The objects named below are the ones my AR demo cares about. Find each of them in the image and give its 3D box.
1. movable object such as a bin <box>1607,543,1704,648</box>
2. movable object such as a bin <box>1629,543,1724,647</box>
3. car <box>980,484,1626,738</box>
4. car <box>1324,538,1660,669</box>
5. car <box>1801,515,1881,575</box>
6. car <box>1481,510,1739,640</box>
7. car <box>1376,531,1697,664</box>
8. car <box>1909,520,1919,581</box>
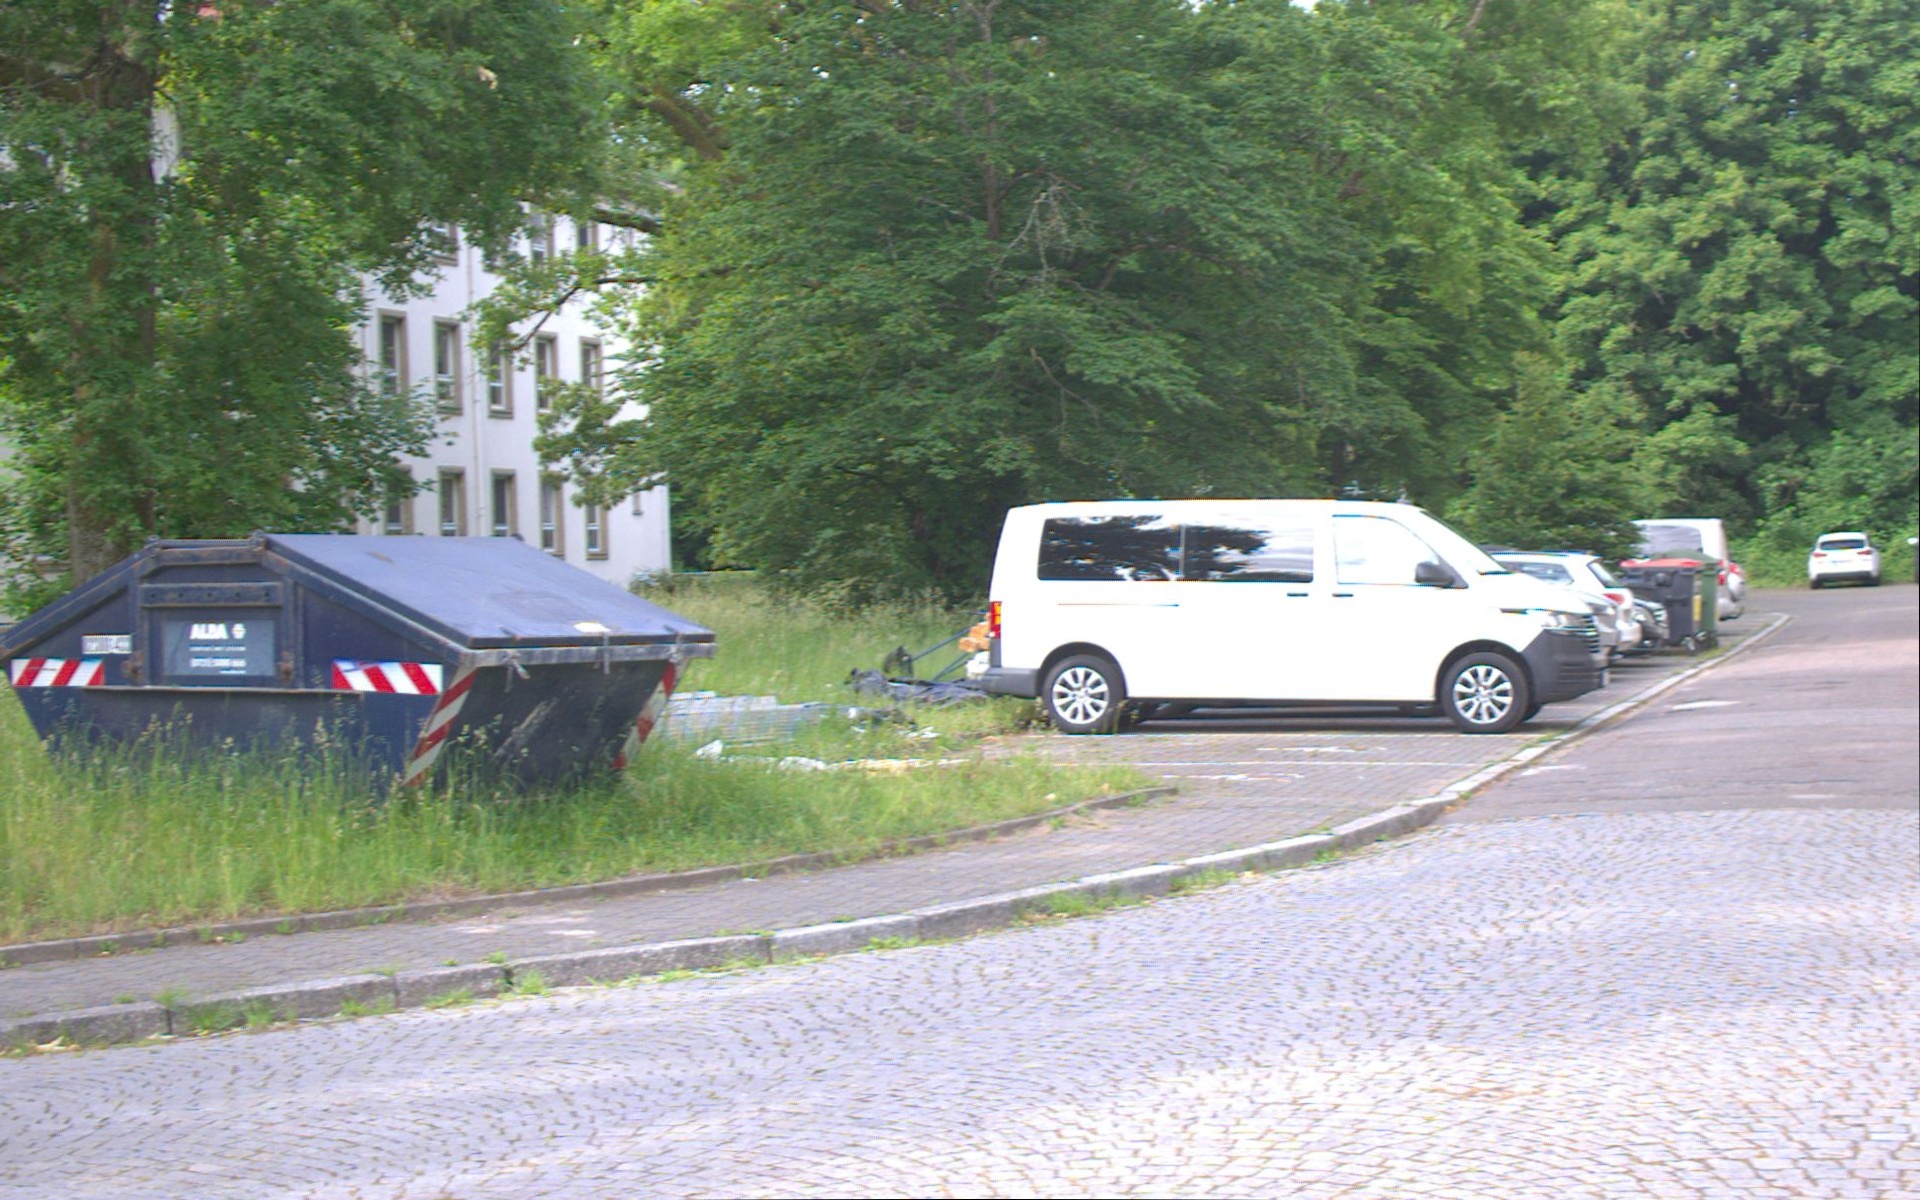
[{"bbox_3d":[9.478,-0.068,46.823,1.185,1.402,0.974,1,1,17],"label":"movable object such as a bin"},{"bbox_3d":[9.989,-0.074,47.928,1.185,1.402,0.974,1,1,17],"label":"movable object such as a bin"},{"bbox_3d":[2.972,0.092,29.495,5.204,2.053,2.186,0,0,16],"label":"car"},{"bbox_3d":[6.444,0.023,41.610,3.633,1.476,1.818,1,1,25],"label":"car"},{"bbox_3d":[23.574,-1.447,92.124,2.002,1.542,3.956,1,1,14],"label":"car"},{"bbox_3d":[10.540,-0.412,55.676,3.989,2.007,1.920,1,1,13],"label":"car"},{"bbox_3d":[7.322,-0.047,43.662,3.686,1.587,1.762,1,1,23],"label":"car"},{"bbox_3d":[26.379,-1.290,91.187,2.065,1.588,3.996,1,1,19],"label":"car"}]
